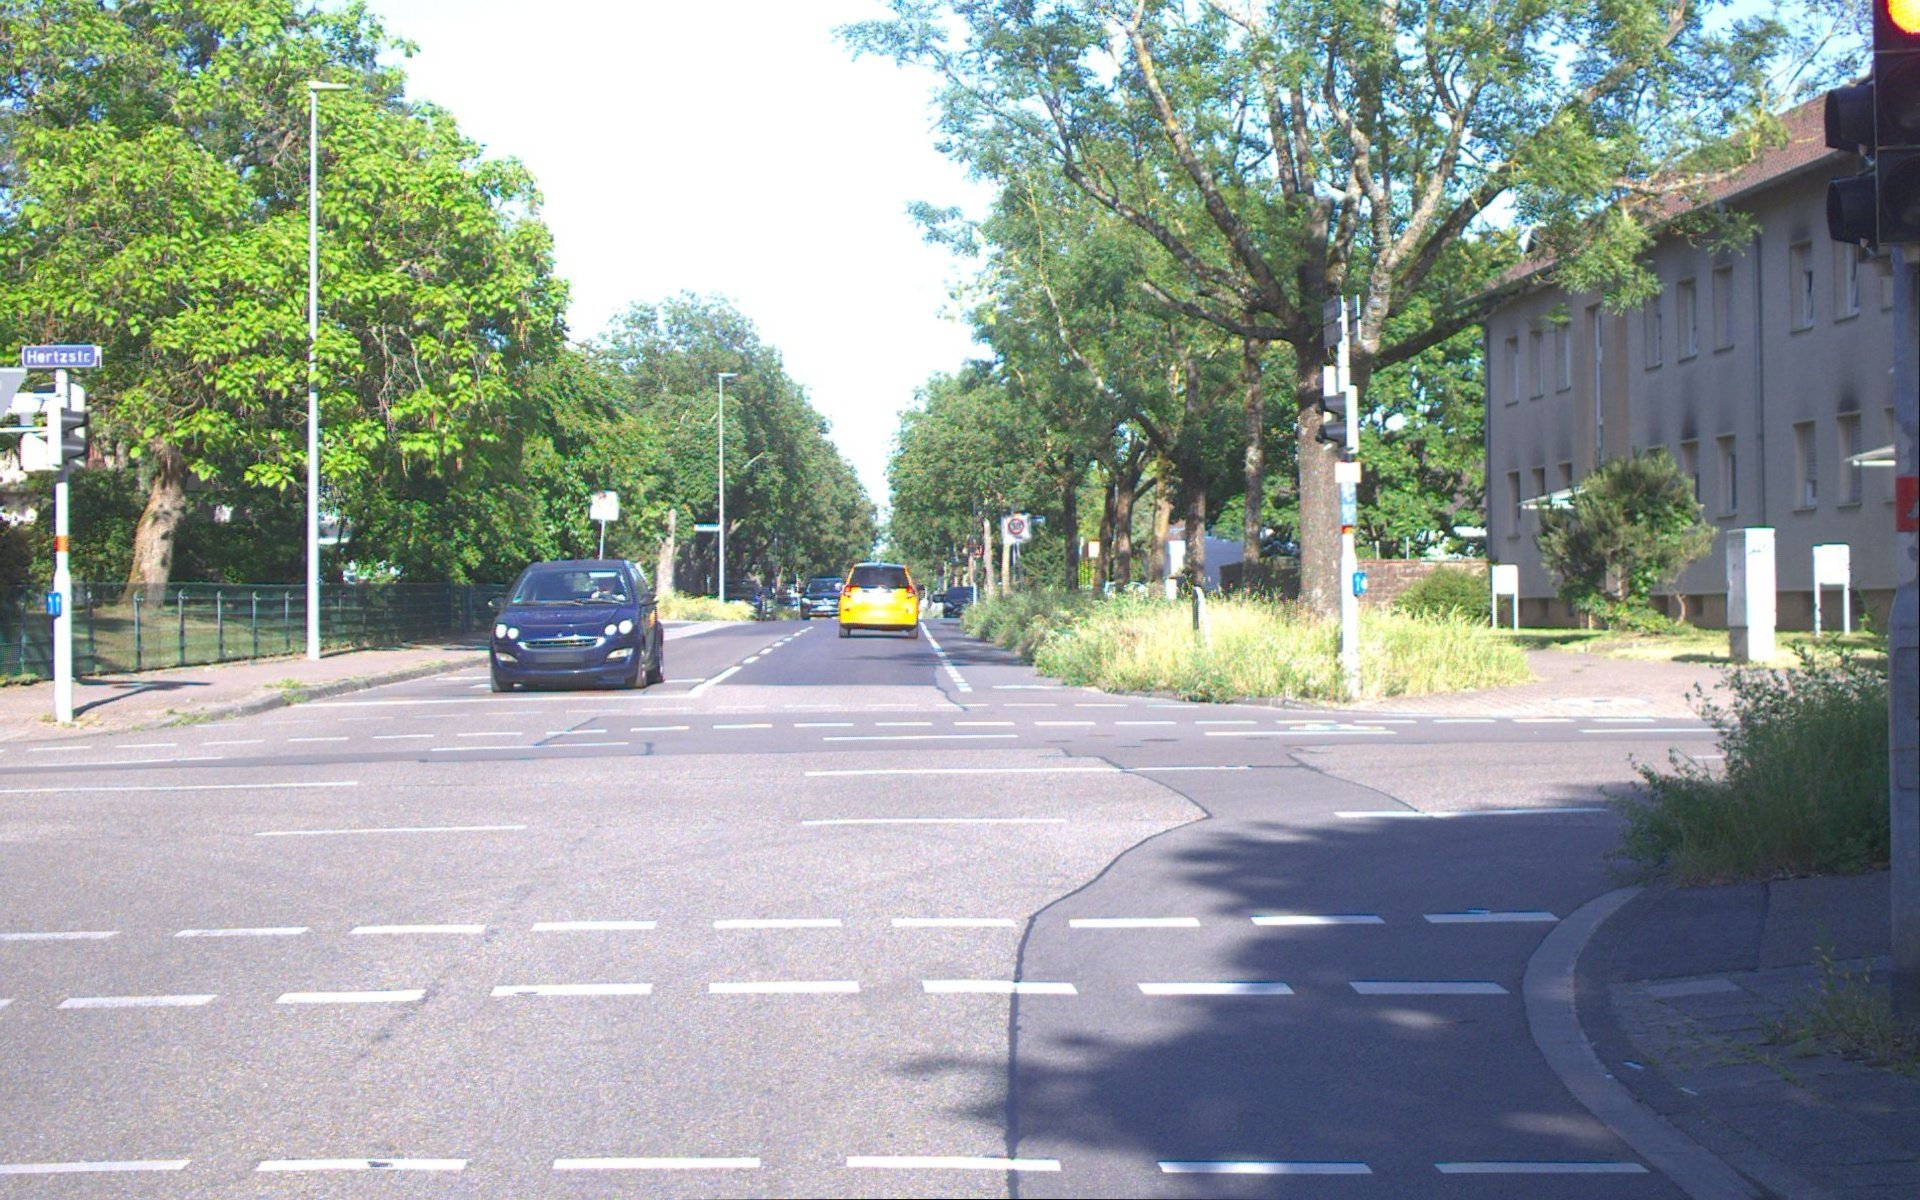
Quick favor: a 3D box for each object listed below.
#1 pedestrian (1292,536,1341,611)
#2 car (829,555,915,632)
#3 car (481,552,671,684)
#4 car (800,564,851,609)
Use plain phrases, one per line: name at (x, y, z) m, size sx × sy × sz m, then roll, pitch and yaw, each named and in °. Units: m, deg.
pedestrian at (7.238, -0.547, 69.910) m, size 0.842 × 1.488 × 0.924 m, roll 2°, pitch 1°, yaw -1°
car at (-1.848, -0.141, 73.312) m, size 1.751 × 1.577 × 4.000 m, roll 1°, pitch 0°, yaw 0°
car at (-4.269, 0.174, 38.623) m, size 1.711 × 1.381 × 3.471 m, roll 0°, pitch 1°, yaw 0°
car at (-4.989, -0.512, 127.735) m, size 1.758 × 1.619 × 3.268 m, roll 0°, pitch 1°, yaw 0°
